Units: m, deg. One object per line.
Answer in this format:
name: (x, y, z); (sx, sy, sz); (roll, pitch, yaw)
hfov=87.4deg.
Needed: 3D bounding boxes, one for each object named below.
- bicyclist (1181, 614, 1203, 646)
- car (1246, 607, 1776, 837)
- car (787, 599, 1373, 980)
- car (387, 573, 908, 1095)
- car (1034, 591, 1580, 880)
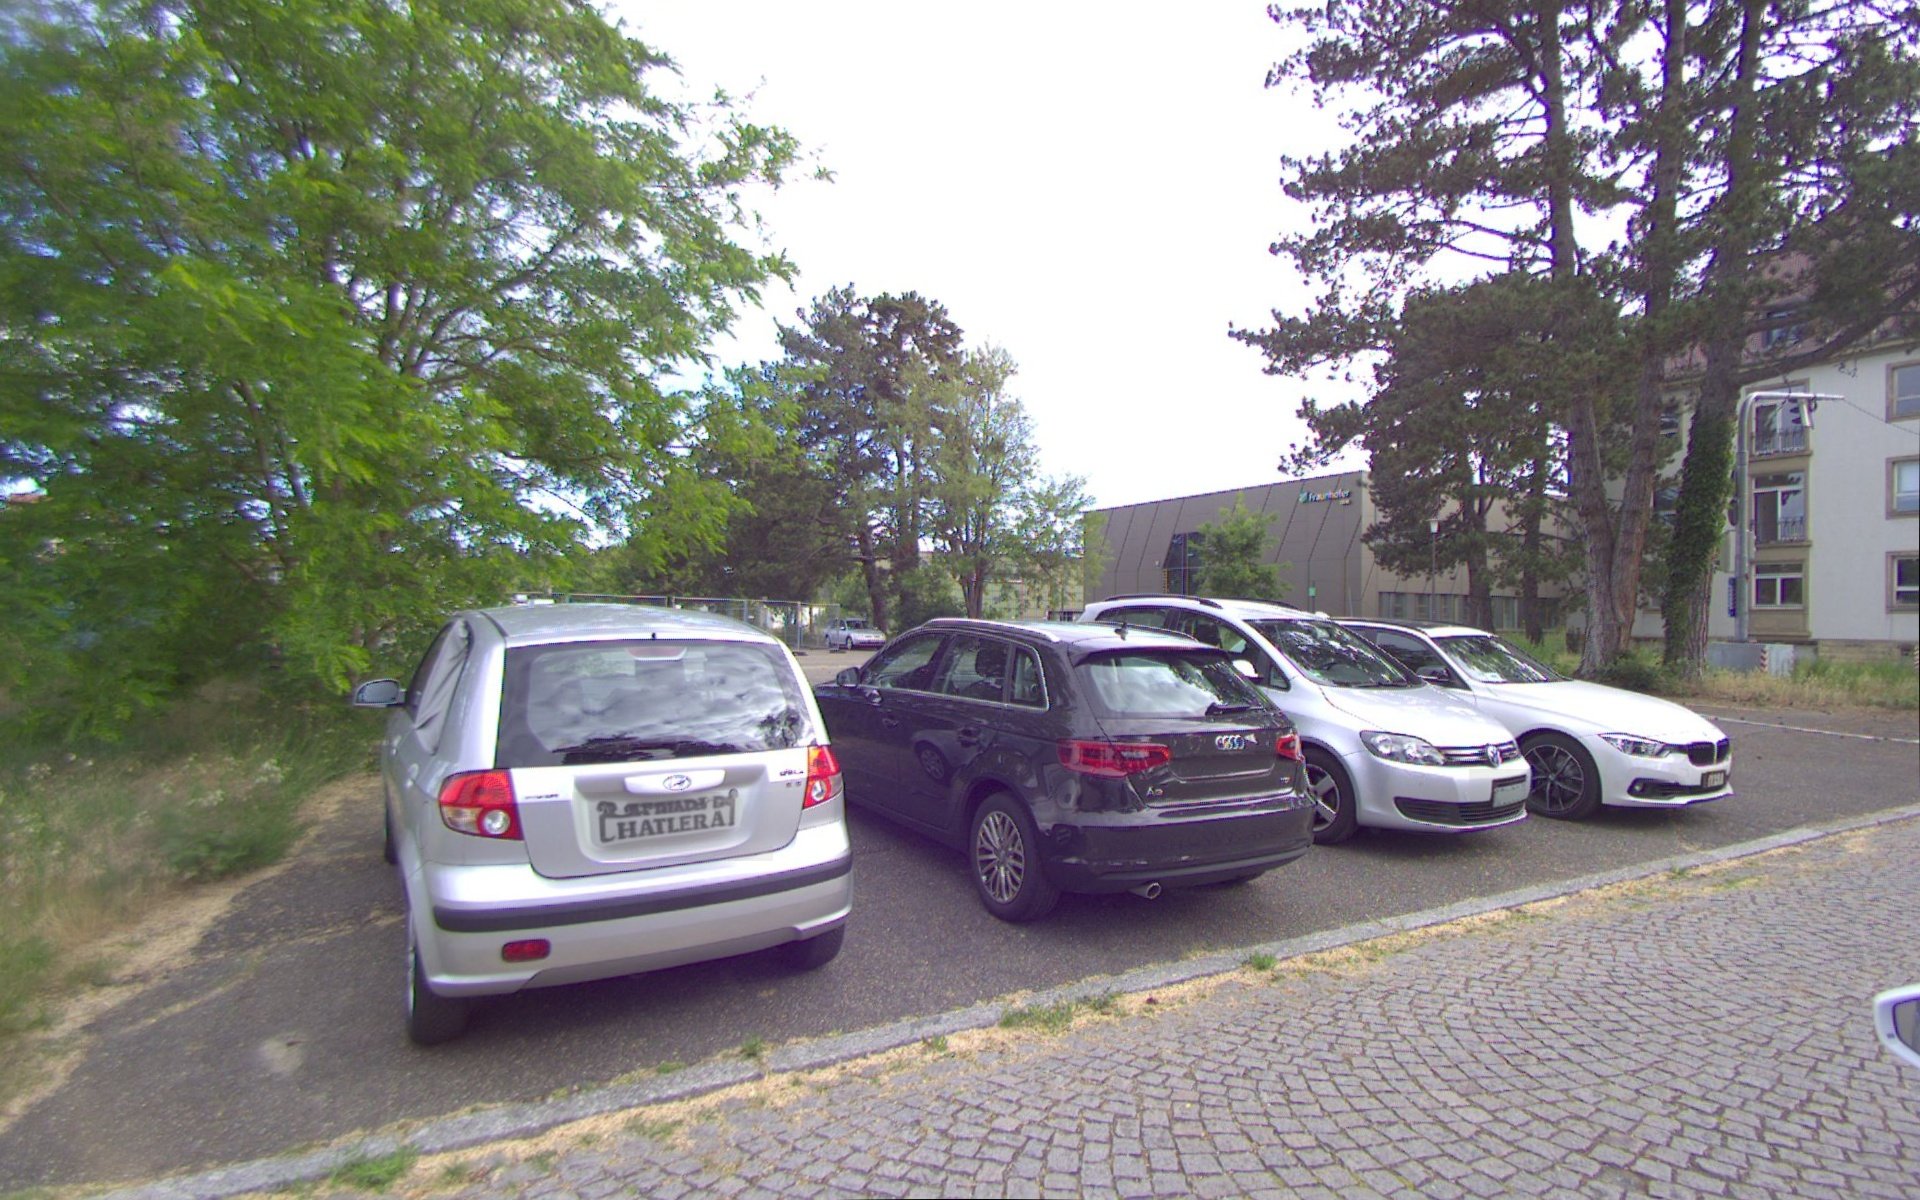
bicyclist: (10.574, 1.364, 45.763); (0.598, 1.429, 0.746); (1, -1, -29)
car: (4.665, 0.885, 9.141); (1.631, 1.440, 3.928); (1, 2, -30)
car: (0.392, 0.800, 6.173); (1.565, 1.448, 3.725); (1, 2, -32)
car: (-1.848, 0.673, 4.974); (1.565, 1.499, 3.682); (1, 2, -32)
car: (2.429, 0.798, 8.007); (1.632, 1.584, 3.925); (1, 2, -32)
